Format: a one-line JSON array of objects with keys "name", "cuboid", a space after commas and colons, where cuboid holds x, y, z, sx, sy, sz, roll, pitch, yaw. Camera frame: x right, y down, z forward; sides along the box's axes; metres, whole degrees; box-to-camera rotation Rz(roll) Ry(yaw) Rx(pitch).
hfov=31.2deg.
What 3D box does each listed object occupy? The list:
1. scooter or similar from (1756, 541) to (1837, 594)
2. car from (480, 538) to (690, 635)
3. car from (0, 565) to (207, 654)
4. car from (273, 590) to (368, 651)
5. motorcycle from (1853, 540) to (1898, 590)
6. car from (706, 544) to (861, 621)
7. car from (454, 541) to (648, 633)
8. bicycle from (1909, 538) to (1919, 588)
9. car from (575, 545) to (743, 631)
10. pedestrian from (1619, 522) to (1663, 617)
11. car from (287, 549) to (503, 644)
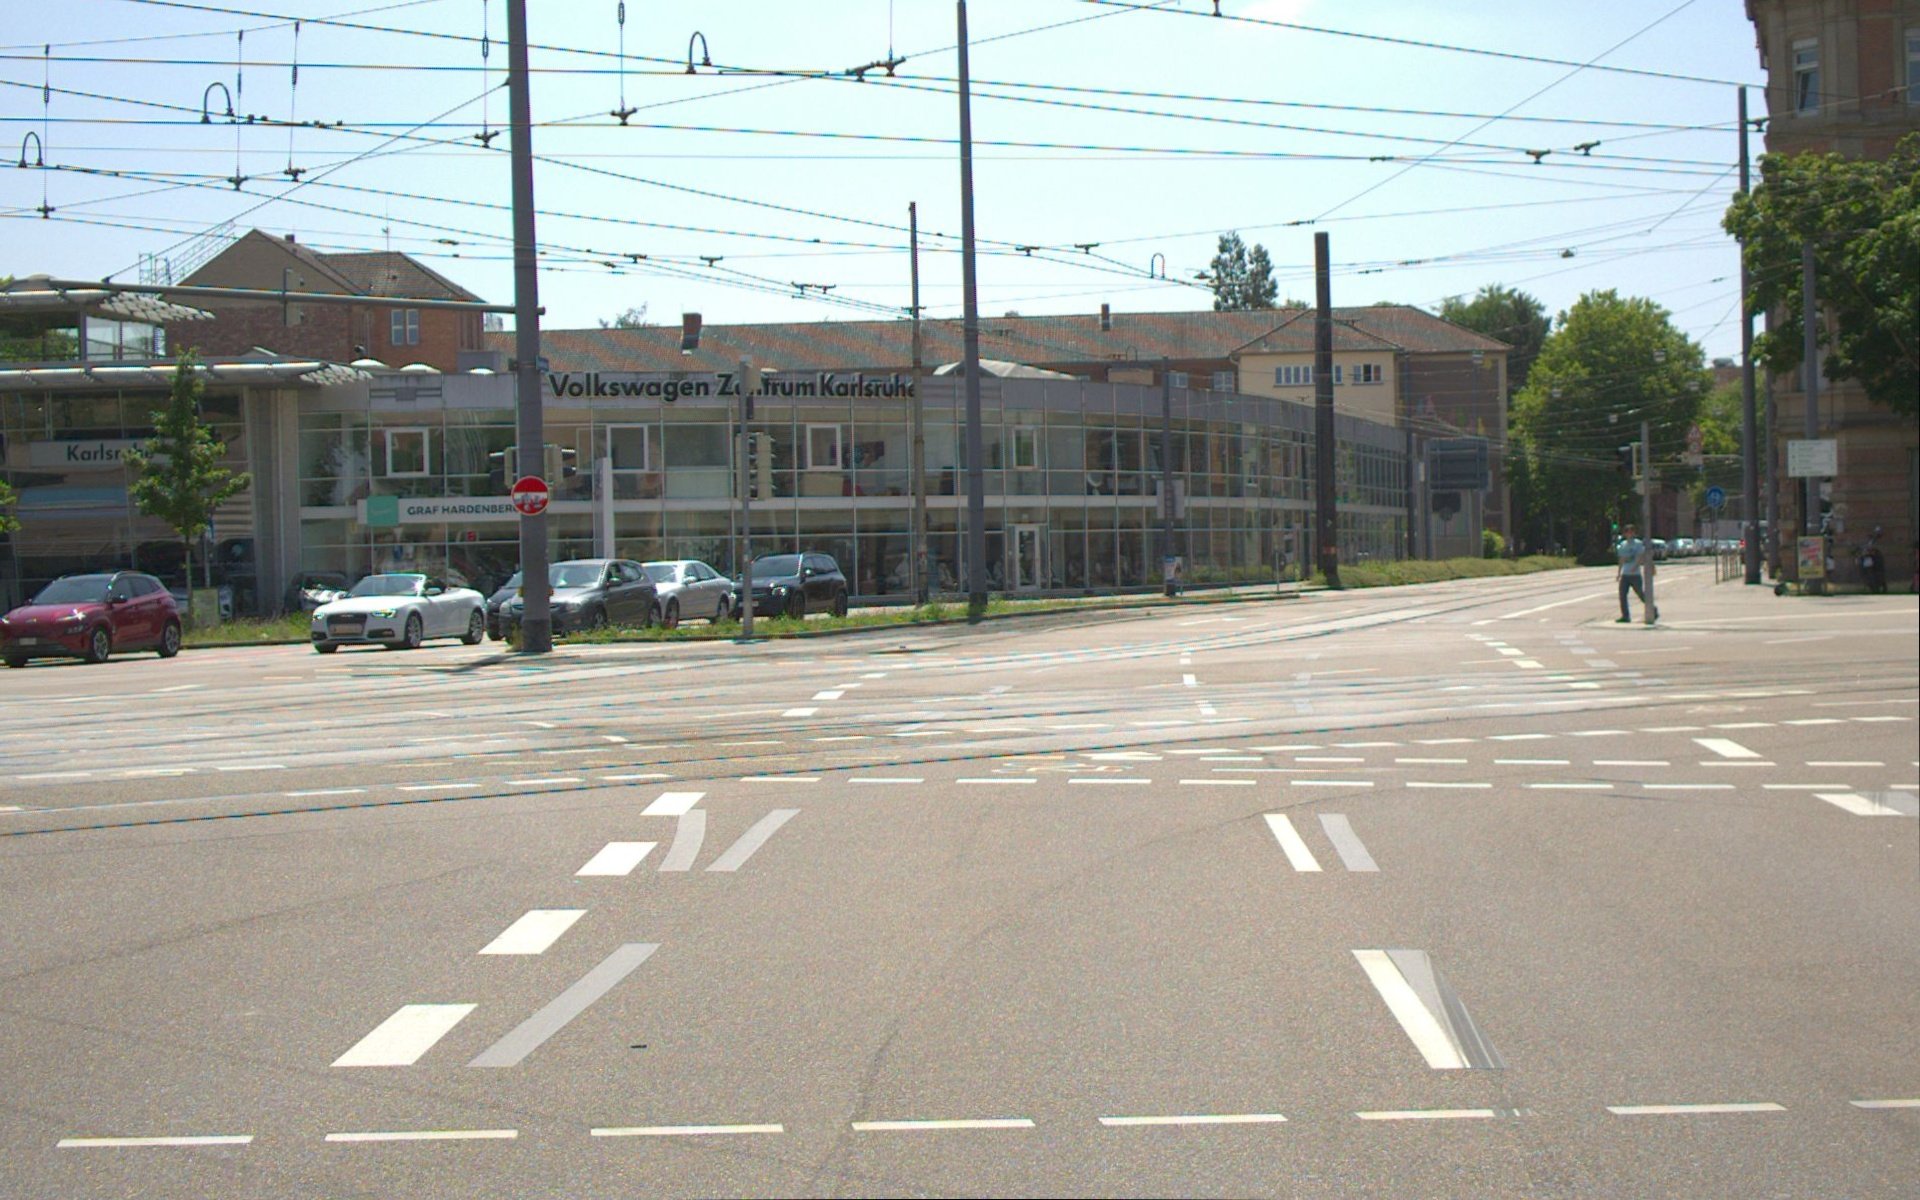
[{"name": "scooter or similar", "cuboid": [19.315, -0.746, 79.379, 1.786, 1.177, 0.600, -1, 1, -20]}, {"name": "car", "cuboid": [-6.715, -0.271, 62.120, 1.995, 1.632, 4.842, -1, 1, 17]}, {"name": "car", "cuboid": [-15.465, 0.143, 61.383, 1.995, 1.460, 4.843, -1, 1, 13]}, {"name": "car", "cuboid": [-18.206, 0.574, 98.062, 1.920, 1.701, 4.000, 1, 0, 1]}, {"name": "motorcycle", "cuboid": [20.319, -0.782, 76.343, 0.580, 1.071, 1.946, -1, 1, 4]}, {"name": "car", "cuboid": [-4.097, -0.434, 80.730, 2.080, 1.677, 4.842, -1, 1, 17]}, {"name": "car", "cuboid": [-8.023, -0.284, 67.958, 1.995, 1.695, 4.842, -1, 1, 17]}, {"name": "bicycle", "cuboid": [21.472, -0.829, 76.212, 0.551, 1.116, 1.820, -1, 1, 6]}, {"name": "car", "cuboid": [-6.424, -0.284, 73.890, 1.995, 1.733, 4.540, -1, 1, 17]}, {"name": "pedestrian", "cuboid": [12.274, -0.553, 61.956, 0.461, 1.702, 0.640, -1, 1, -24]}, {"name": "car", "cuboid": [-10.093, -0.097, 61.791, 2.078, 1.575, 4.843, -1, 1, 13]}]
